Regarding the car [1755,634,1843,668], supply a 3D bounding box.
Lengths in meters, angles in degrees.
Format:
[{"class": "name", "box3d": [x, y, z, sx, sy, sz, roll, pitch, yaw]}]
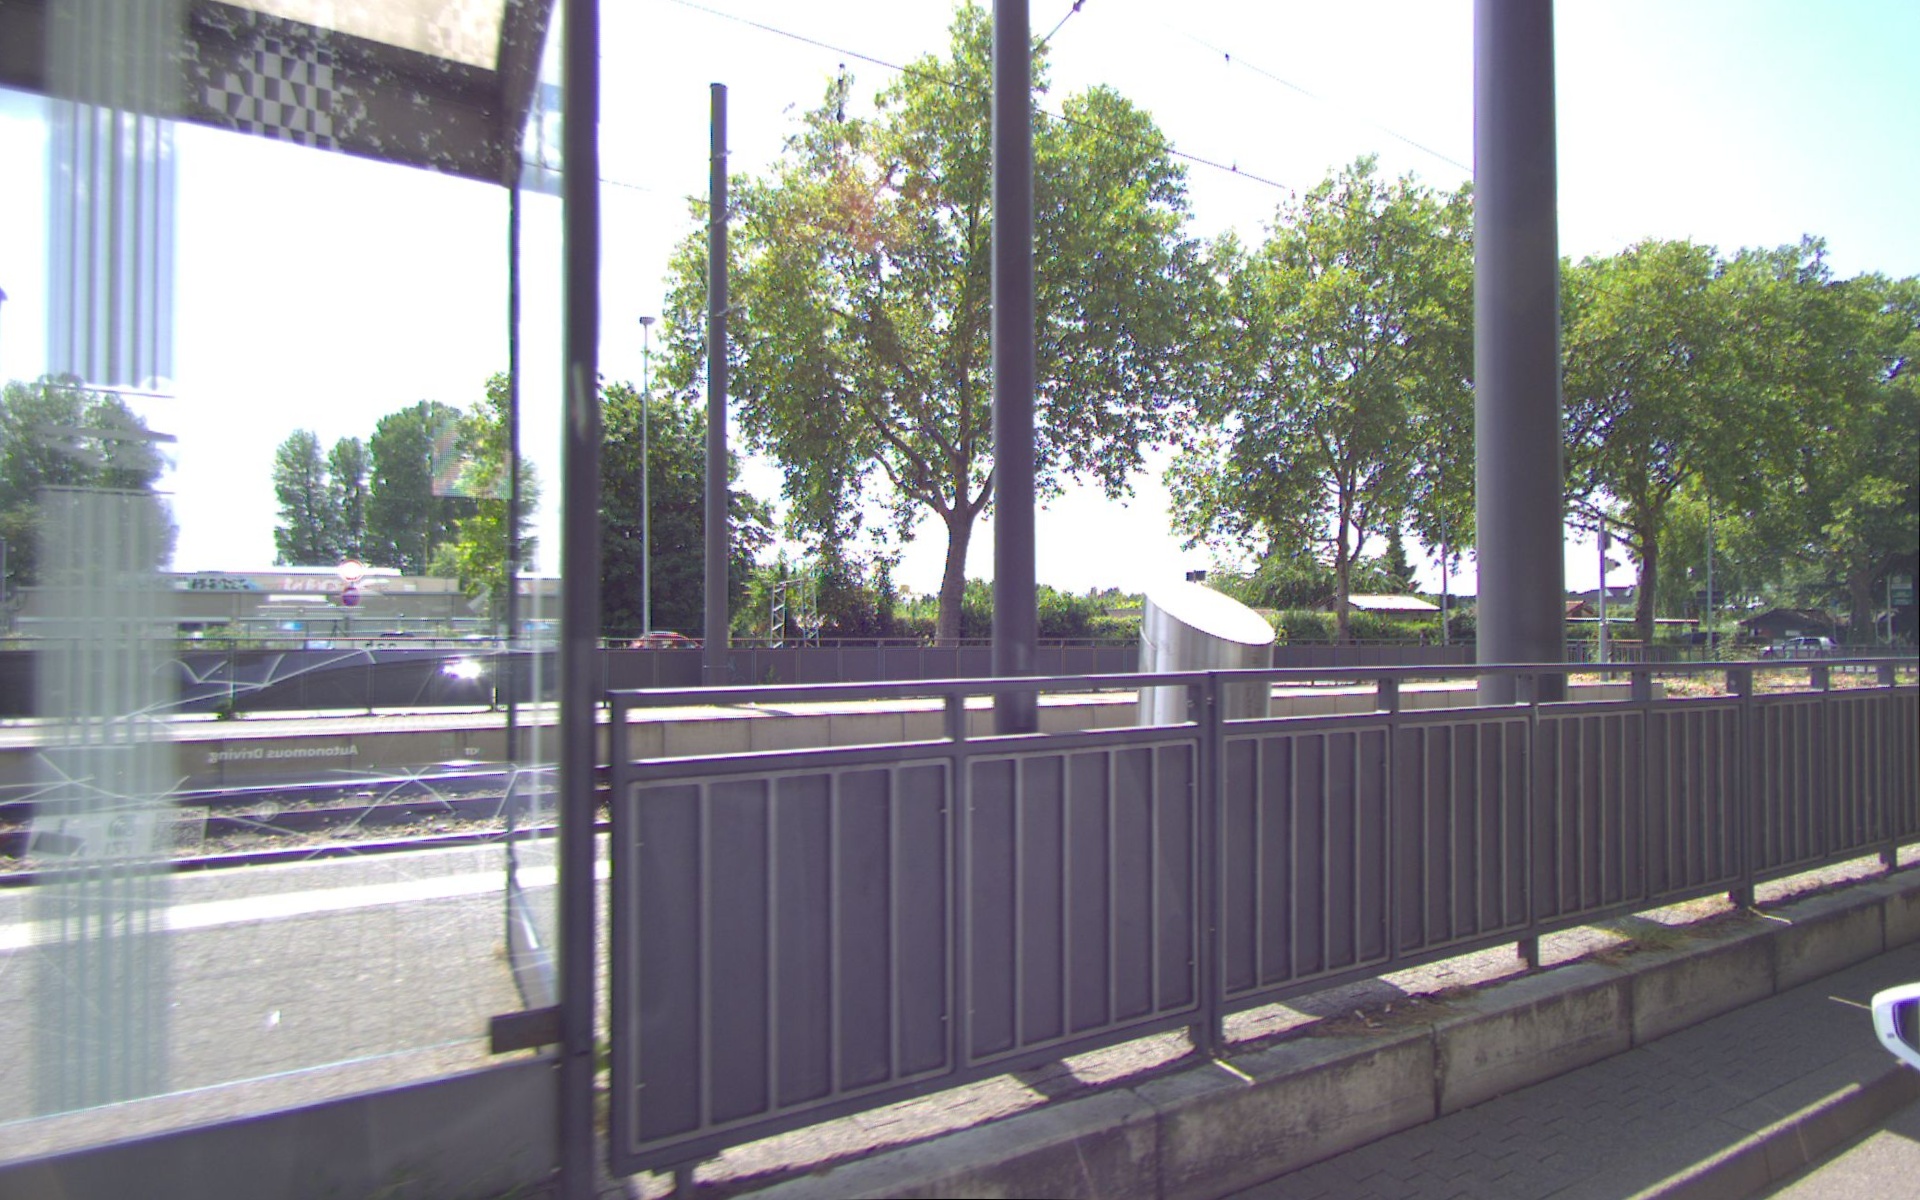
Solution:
[{"class": "car", "box3d": [51.660, 3.101, 61.867, 1.985, 1.884, 3.951, 0, 0, -42]}]

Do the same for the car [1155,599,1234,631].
[{"class": "car", "box3d": [12.554, 0.788, 53.731, 3.882, 1.684, 1.894, 0, 0, -30]}]

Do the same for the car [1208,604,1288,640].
[{"class": "car", "box3d": [14.035, 1.045, 48.980, 3.596, 1.706, 1.805, 0, 0, -30]}]

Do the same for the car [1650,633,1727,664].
[{"class": "car", "box3d": [47.907, 3.151, 66.063, 3.941, 1.884, 1.990, -1, 0, 41]}]

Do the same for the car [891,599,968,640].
[{"class": "car", "box3d": [-1.384, 0.815, 43.794, 1.885, 1.684, 3.901, 0, 0, -27]}]

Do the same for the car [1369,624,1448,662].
[{"class": "car", "box3d": [22.049, 2.090, 49.395, 3.596, 1.706, 1.805, 0, 0, -30]}]
